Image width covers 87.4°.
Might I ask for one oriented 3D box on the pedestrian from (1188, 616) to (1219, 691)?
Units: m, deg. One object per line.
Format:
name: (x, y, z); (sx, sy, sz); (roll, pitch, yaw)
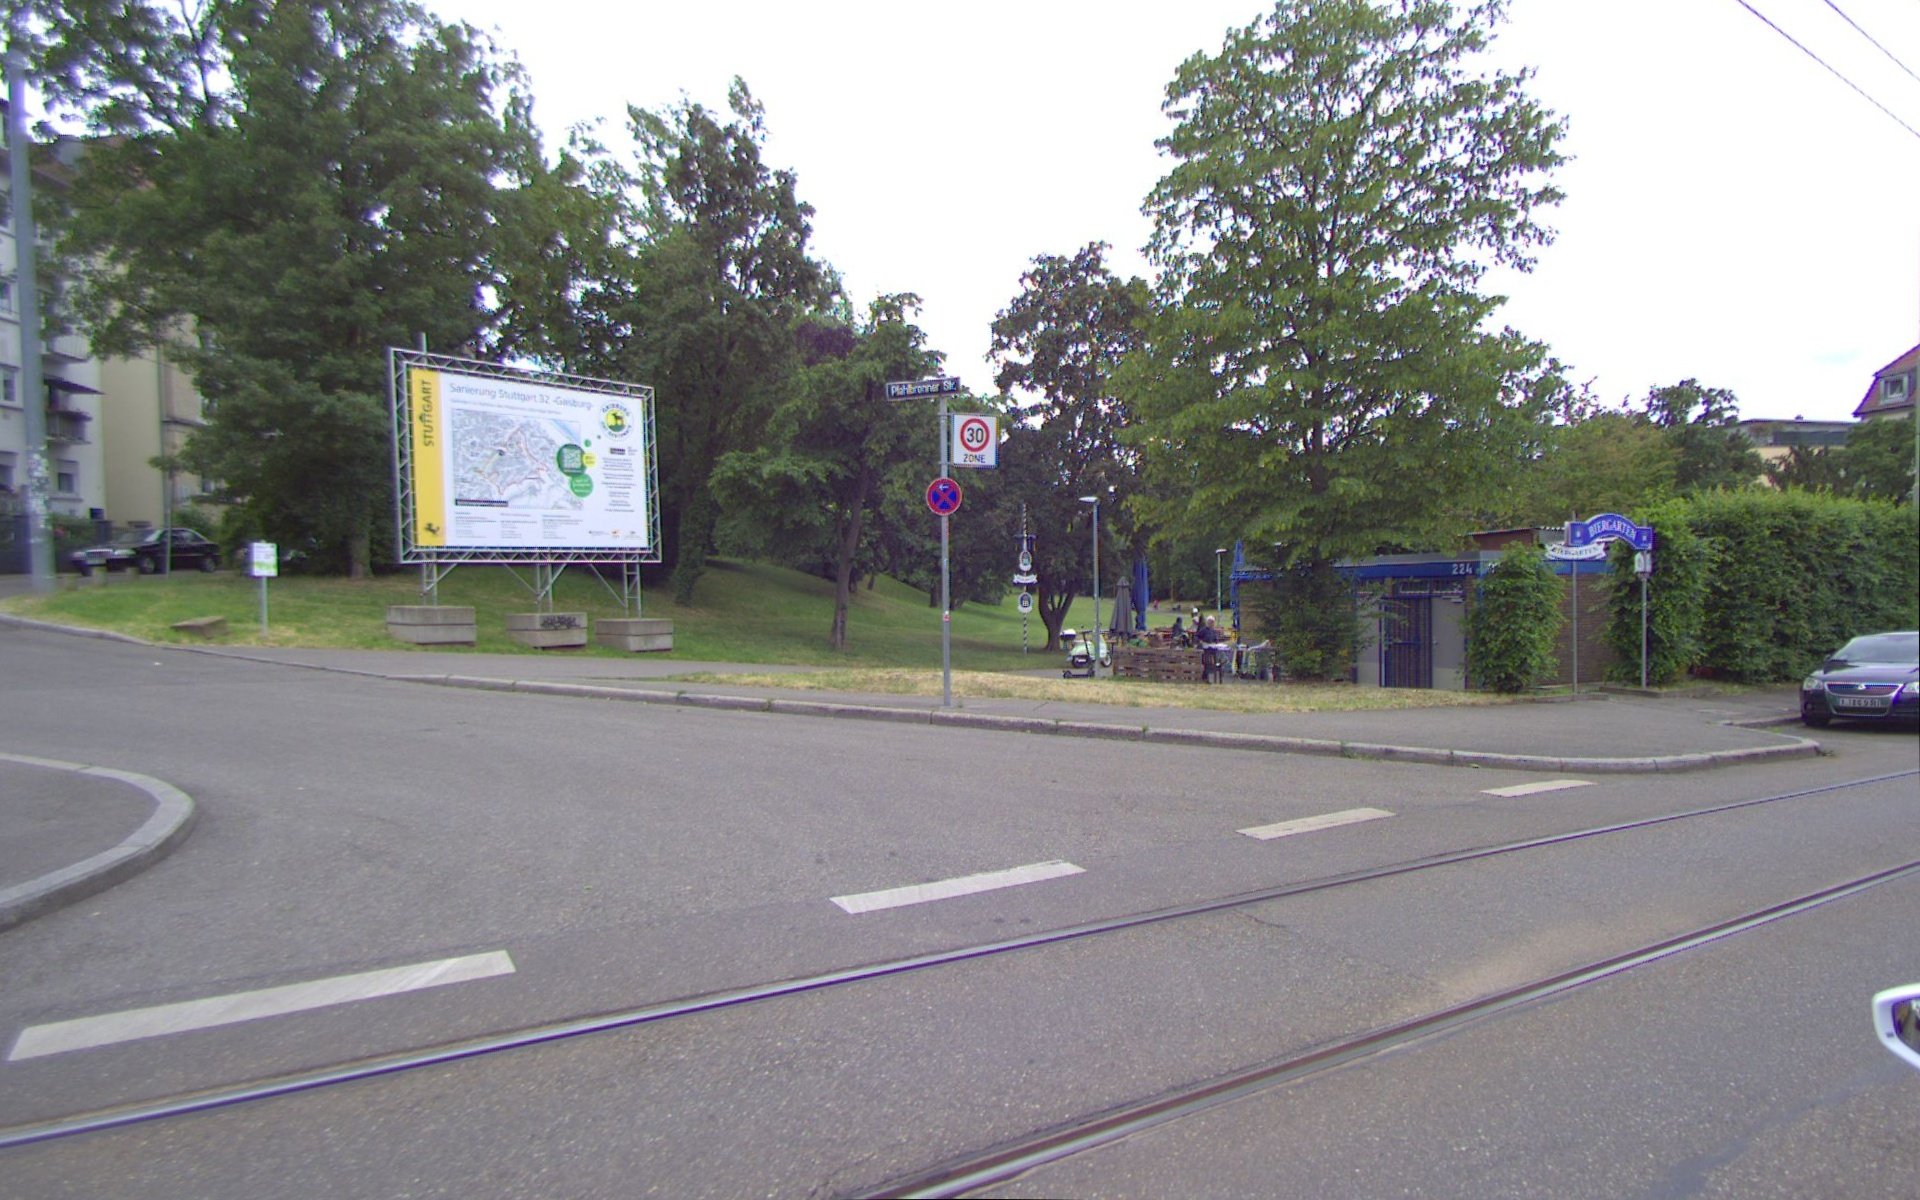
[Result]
pedestrian: (5.618, 1.224, 23.164); (0.652, 1.686, 0.622); (1, 0, 14)

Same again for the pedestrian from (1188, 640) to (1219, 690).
pedestrian: (5.479, 1.449, 22.591); (0.652, 1.078, 0.483); (1, 0, 14)

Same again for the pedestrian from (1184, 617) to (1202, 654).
pedestrian: (9.172, 1.391, 39.504); (0.625, 1.443, 0.622); (1, 0, 14)

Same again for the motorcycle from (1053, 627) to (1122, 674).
motorcycle: (3.755, 1.467, 29.447); (2.244, 1.322, 0.616); (1, 0, -40)

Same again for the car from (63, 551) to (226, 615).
car: (-24.218, -0.467, 30.025); (1.812, 1.751, 3.997); (1, 0, -5)

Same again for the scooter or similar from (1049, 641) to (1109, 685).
scooter or similar: (2.866, 1.508, 24.186); (1.404, 1.032, 0.488); (2, -1, -30)

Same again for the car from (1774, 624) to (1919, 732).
car: (14.276, 1.136, 15.210); (4.115, 1.423, 1.780); (2, -1, -32)

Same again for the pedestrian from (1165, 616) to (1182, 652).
pedestrian: (8.661, 1.386, 40.812); (0.625, 1.443, 0.622); (1, 0, 14)

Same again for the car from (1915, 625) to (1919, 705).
car: (19.104, 1.204, 18.012); (4.390, 1.405, 1.830); (2, -1, -32)

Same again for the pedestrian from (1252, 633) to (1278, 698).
pedestrian: (6.635, 1.415, 21.859); (0.509, 1.360, 0.483); (1, 0, 14)
